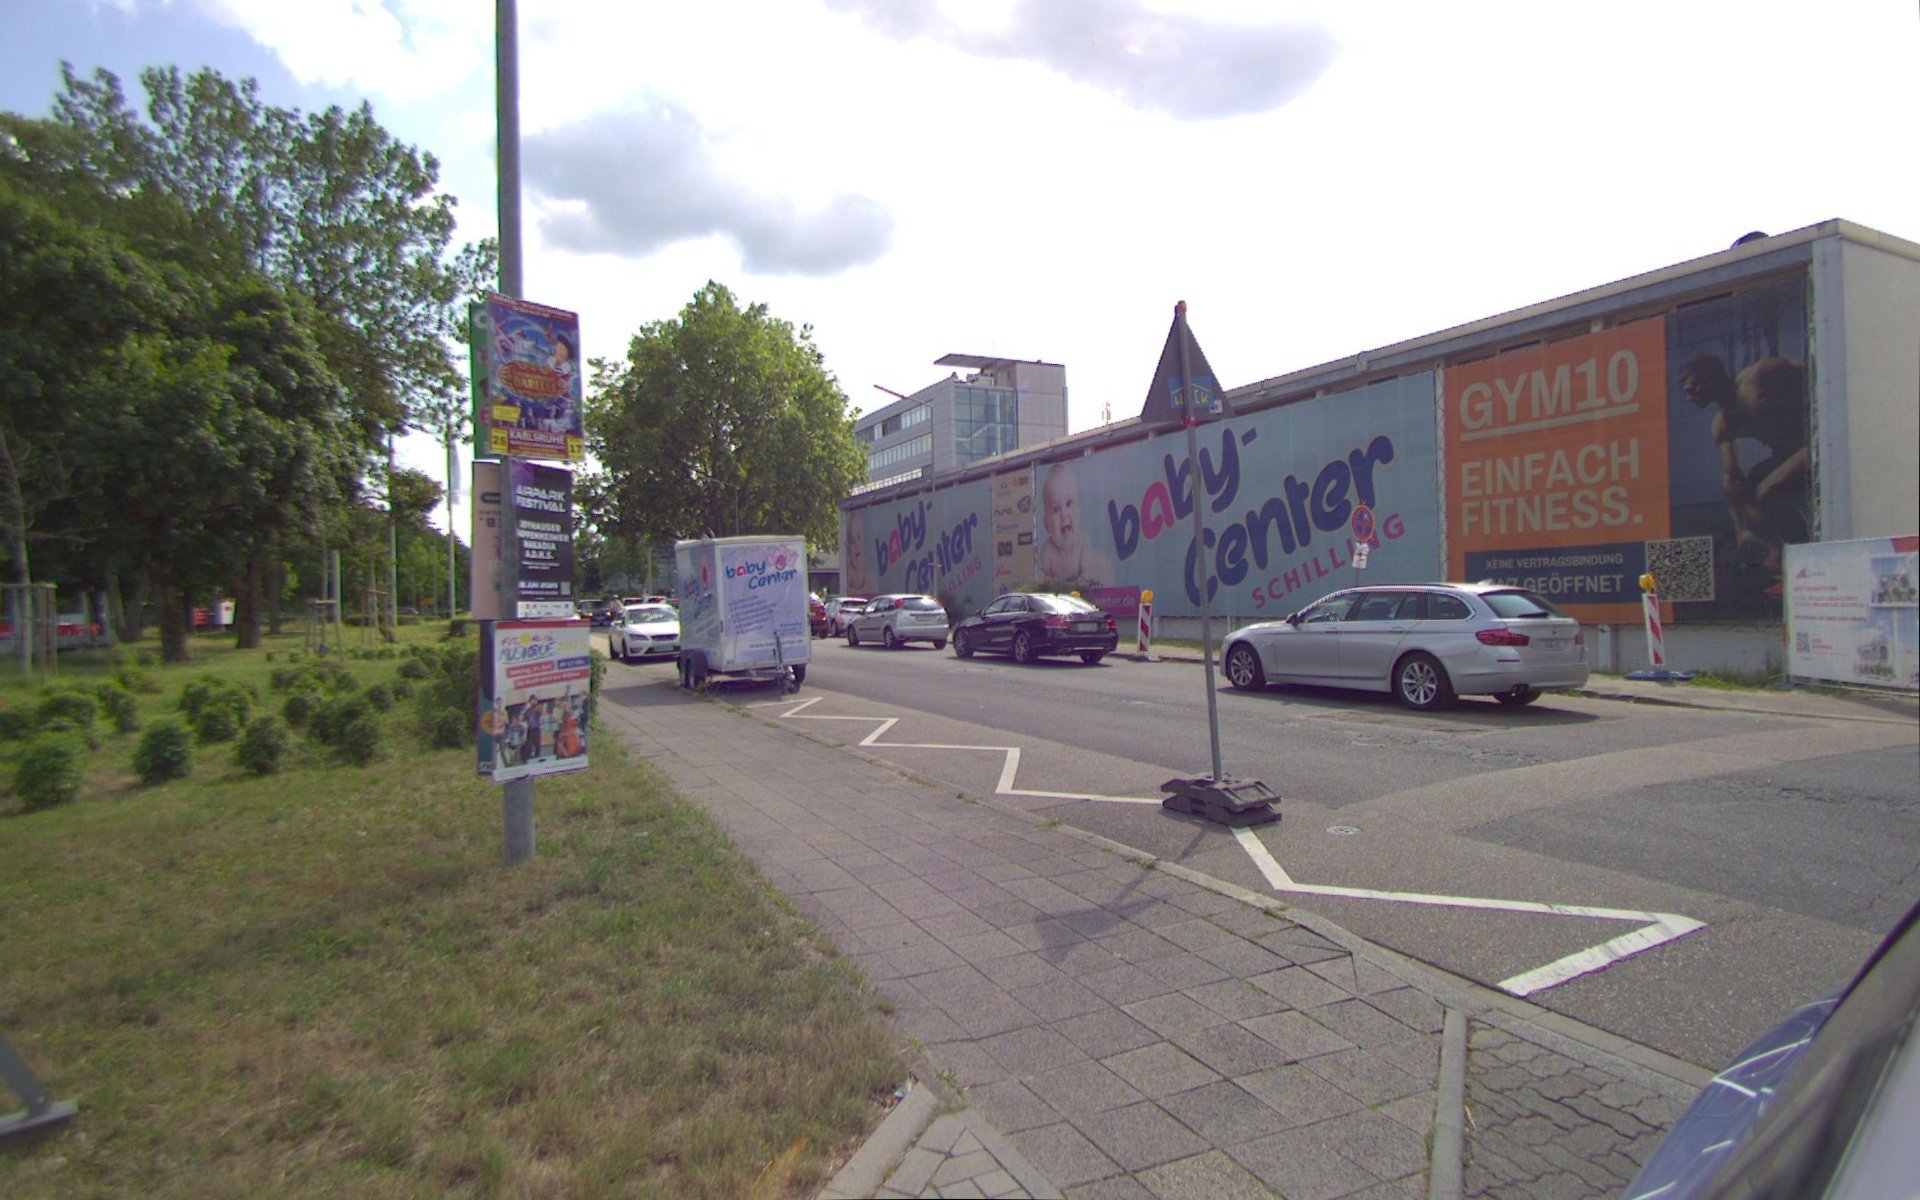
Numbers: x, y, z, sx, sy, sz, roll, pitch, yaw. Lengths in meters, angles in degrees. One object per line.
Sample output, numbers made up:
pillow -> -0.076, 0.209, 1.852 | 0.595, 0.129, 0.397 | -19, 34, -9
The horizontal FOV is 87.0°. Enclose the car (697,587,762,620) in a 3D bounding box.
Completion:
car -> -11.268, 0.160, 49.302 | 1.973, 1.422, 4.795 | -3, 1, -27

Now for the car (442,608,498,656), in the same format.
car -> -18.542, 1.173, 38.242 | 1.684, 1.558, 3.692 | -6, 1, -27

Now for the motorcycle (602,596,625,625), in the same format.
motorcycle -> -16.350, 0.500, 47.662 | 0.632, 1.261, 1.961 | -5, 2, -28

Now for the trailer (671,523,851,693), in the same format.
trailer -> -3.530, 0.073, 17.257 | 1.734, 2.447, 4.283 | -5, 3, -27

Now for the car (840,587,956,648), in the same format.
car -> -1.802, 0.442, 28.126 | 1.757, 1.509, 3.954 | -2, 1, -27

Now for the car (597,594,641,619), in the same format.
car -> -23.179, 0.426, 68.734 | 1.961, 1.603, 4.003 | -2, 1, -31

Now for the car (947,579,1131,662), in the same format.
car -> 1.526, 0.378, 21.479 | 1.815, 1.518, 4.563 | -2, 1, -26

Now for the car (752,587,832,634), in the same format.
car -> -5.902, 0.359, 35.225 | 1.568, 1.522, 3.509 | -2, 1, -30

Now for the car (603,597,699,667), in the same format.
car -> -8.116, 0.774, 26.392 | 1.684, 1.559, 3.693 | -4, 2, -27

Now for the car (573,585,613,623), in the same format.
car -> -21.760, 0.187, 59.936 | 1.959, 2.037, 4.008 | -5, 3, -22

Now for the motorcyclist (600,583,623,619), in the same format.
motorcyclist -> -16.390, 0.041, 47.642 | 0.759, 1.617, 0.905 | -5, 2, -29

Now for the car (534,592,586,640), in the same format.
car -> -19.171, 0.712, 48.416 | 1.960, 2.037, 4.007 | -5, 3, -24

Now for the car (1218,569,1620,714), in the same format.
car -> 5.505, 0.418, 12.890 | 1.734, 1.499, 4.625 | -1, 0, -25
